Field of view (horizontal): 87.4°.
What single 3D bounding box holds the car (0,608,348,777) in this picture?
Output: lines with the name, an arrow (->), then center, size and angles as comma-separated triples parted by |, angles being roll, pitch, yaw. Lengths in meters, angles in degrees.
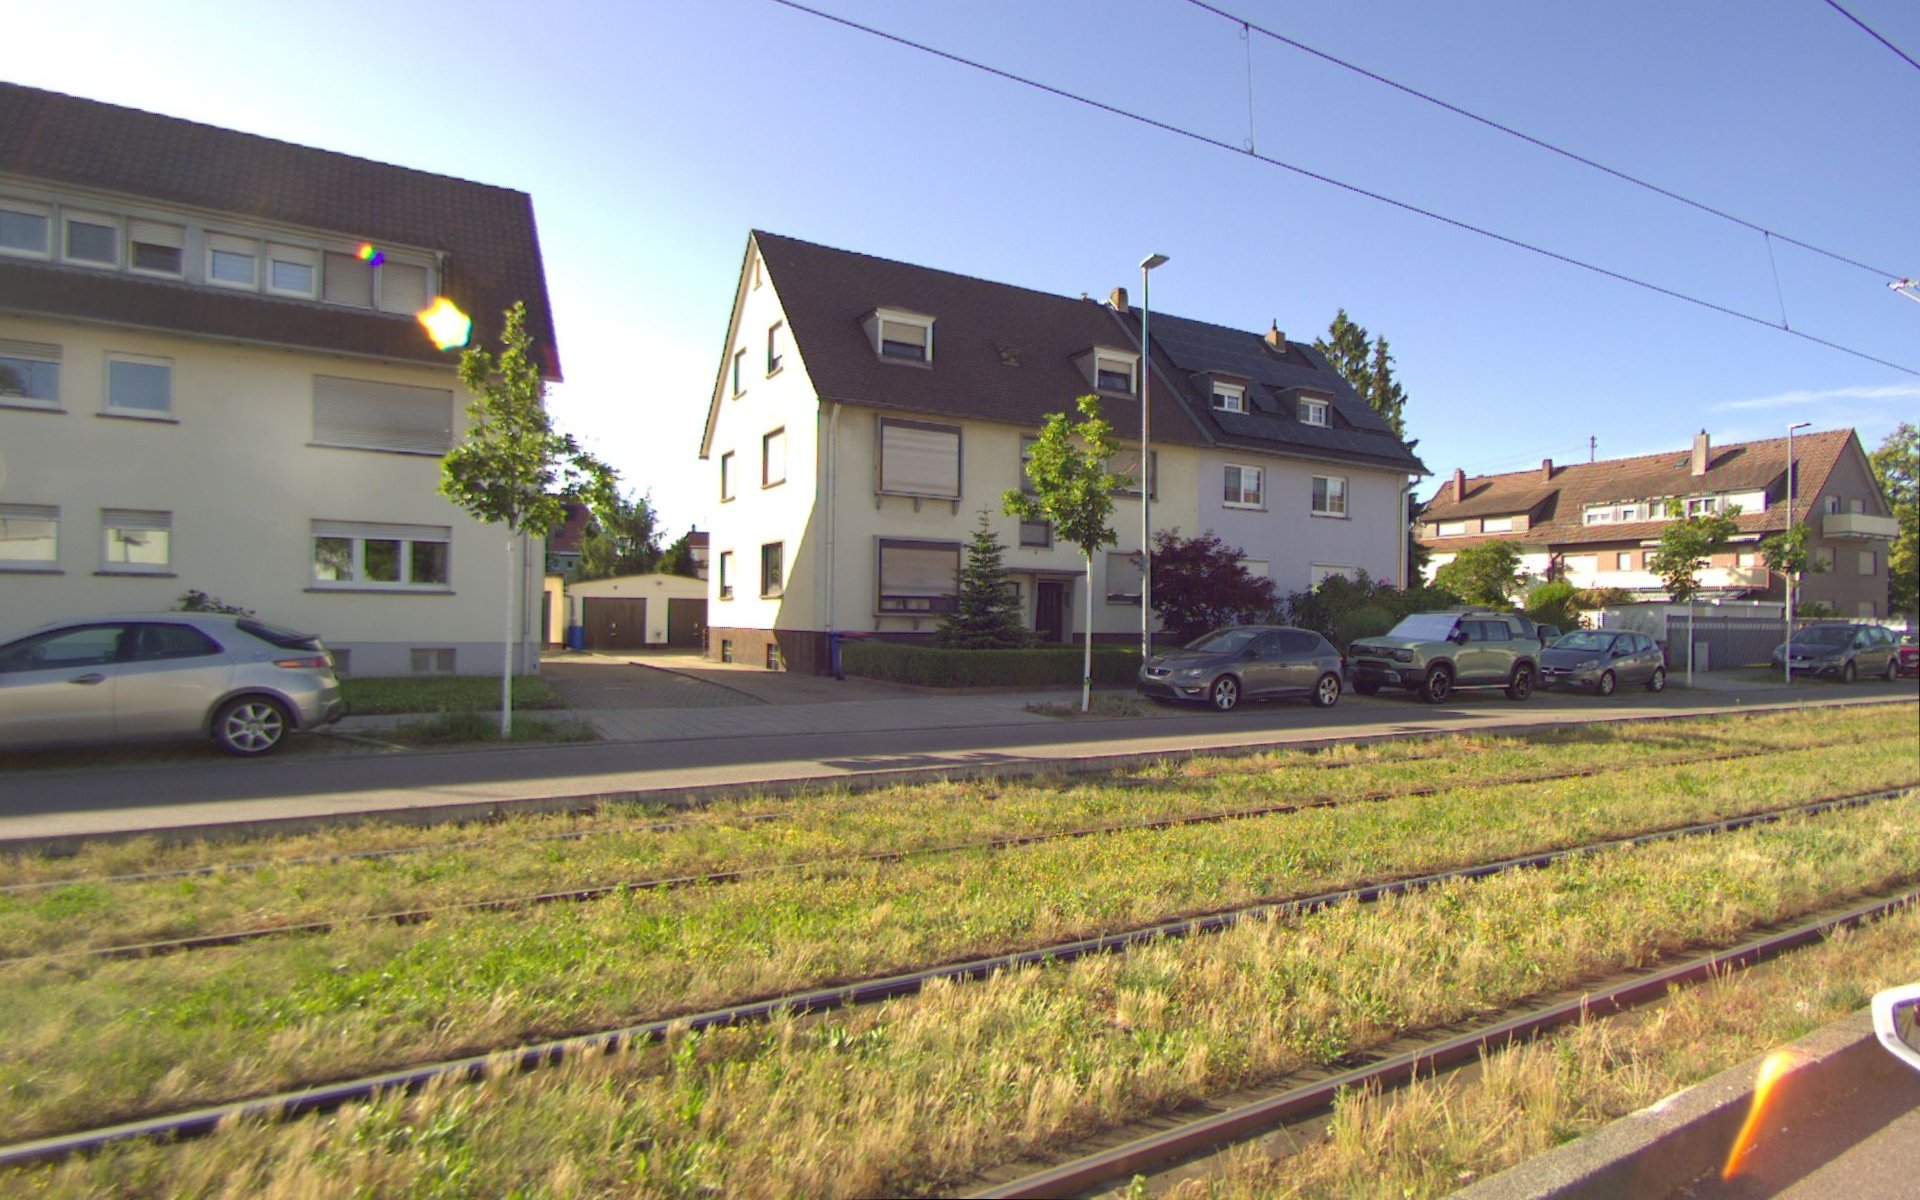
car -> -8.754, 0.864, 10.106 | 4.393, 1.495, 1.679 | 2, 0, -32

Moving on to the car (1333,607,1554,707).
car -> 10.160, 1.129, 21.013 | 4.783, 1.847, 1.737 | 1, 1, -30

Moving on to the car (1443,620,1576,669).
car -> 18.331, 1.447, 33.674 | 1.684, 1.493, 3.598 | 1, -1, -27

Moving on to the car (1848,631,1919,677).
car -> 31.577, 1.755, 33.530 | 4.029, 1.423, 1.688 | 1, -1, -29

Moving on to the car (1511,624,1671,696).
car -> 15.180, 1.393, 24.133 | 4.005, 1.511, 1.667 | 1, 1, -32

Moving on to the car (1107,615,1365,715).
car -> 5.097, 1.133, 18.392 | 4.503, 1.561, 1.951 | 2, 0, -30

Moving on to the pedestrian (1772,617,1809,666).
pedestrian -> 29.015, 1.459, 35.101 | 0.909, 1.662, 0.692 | 1, 1, -32

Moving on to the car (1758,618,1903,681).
car -> 26.492, 1.476, 30.527 | 4.788, 1.707, 1.811 | 1, 1, -30
